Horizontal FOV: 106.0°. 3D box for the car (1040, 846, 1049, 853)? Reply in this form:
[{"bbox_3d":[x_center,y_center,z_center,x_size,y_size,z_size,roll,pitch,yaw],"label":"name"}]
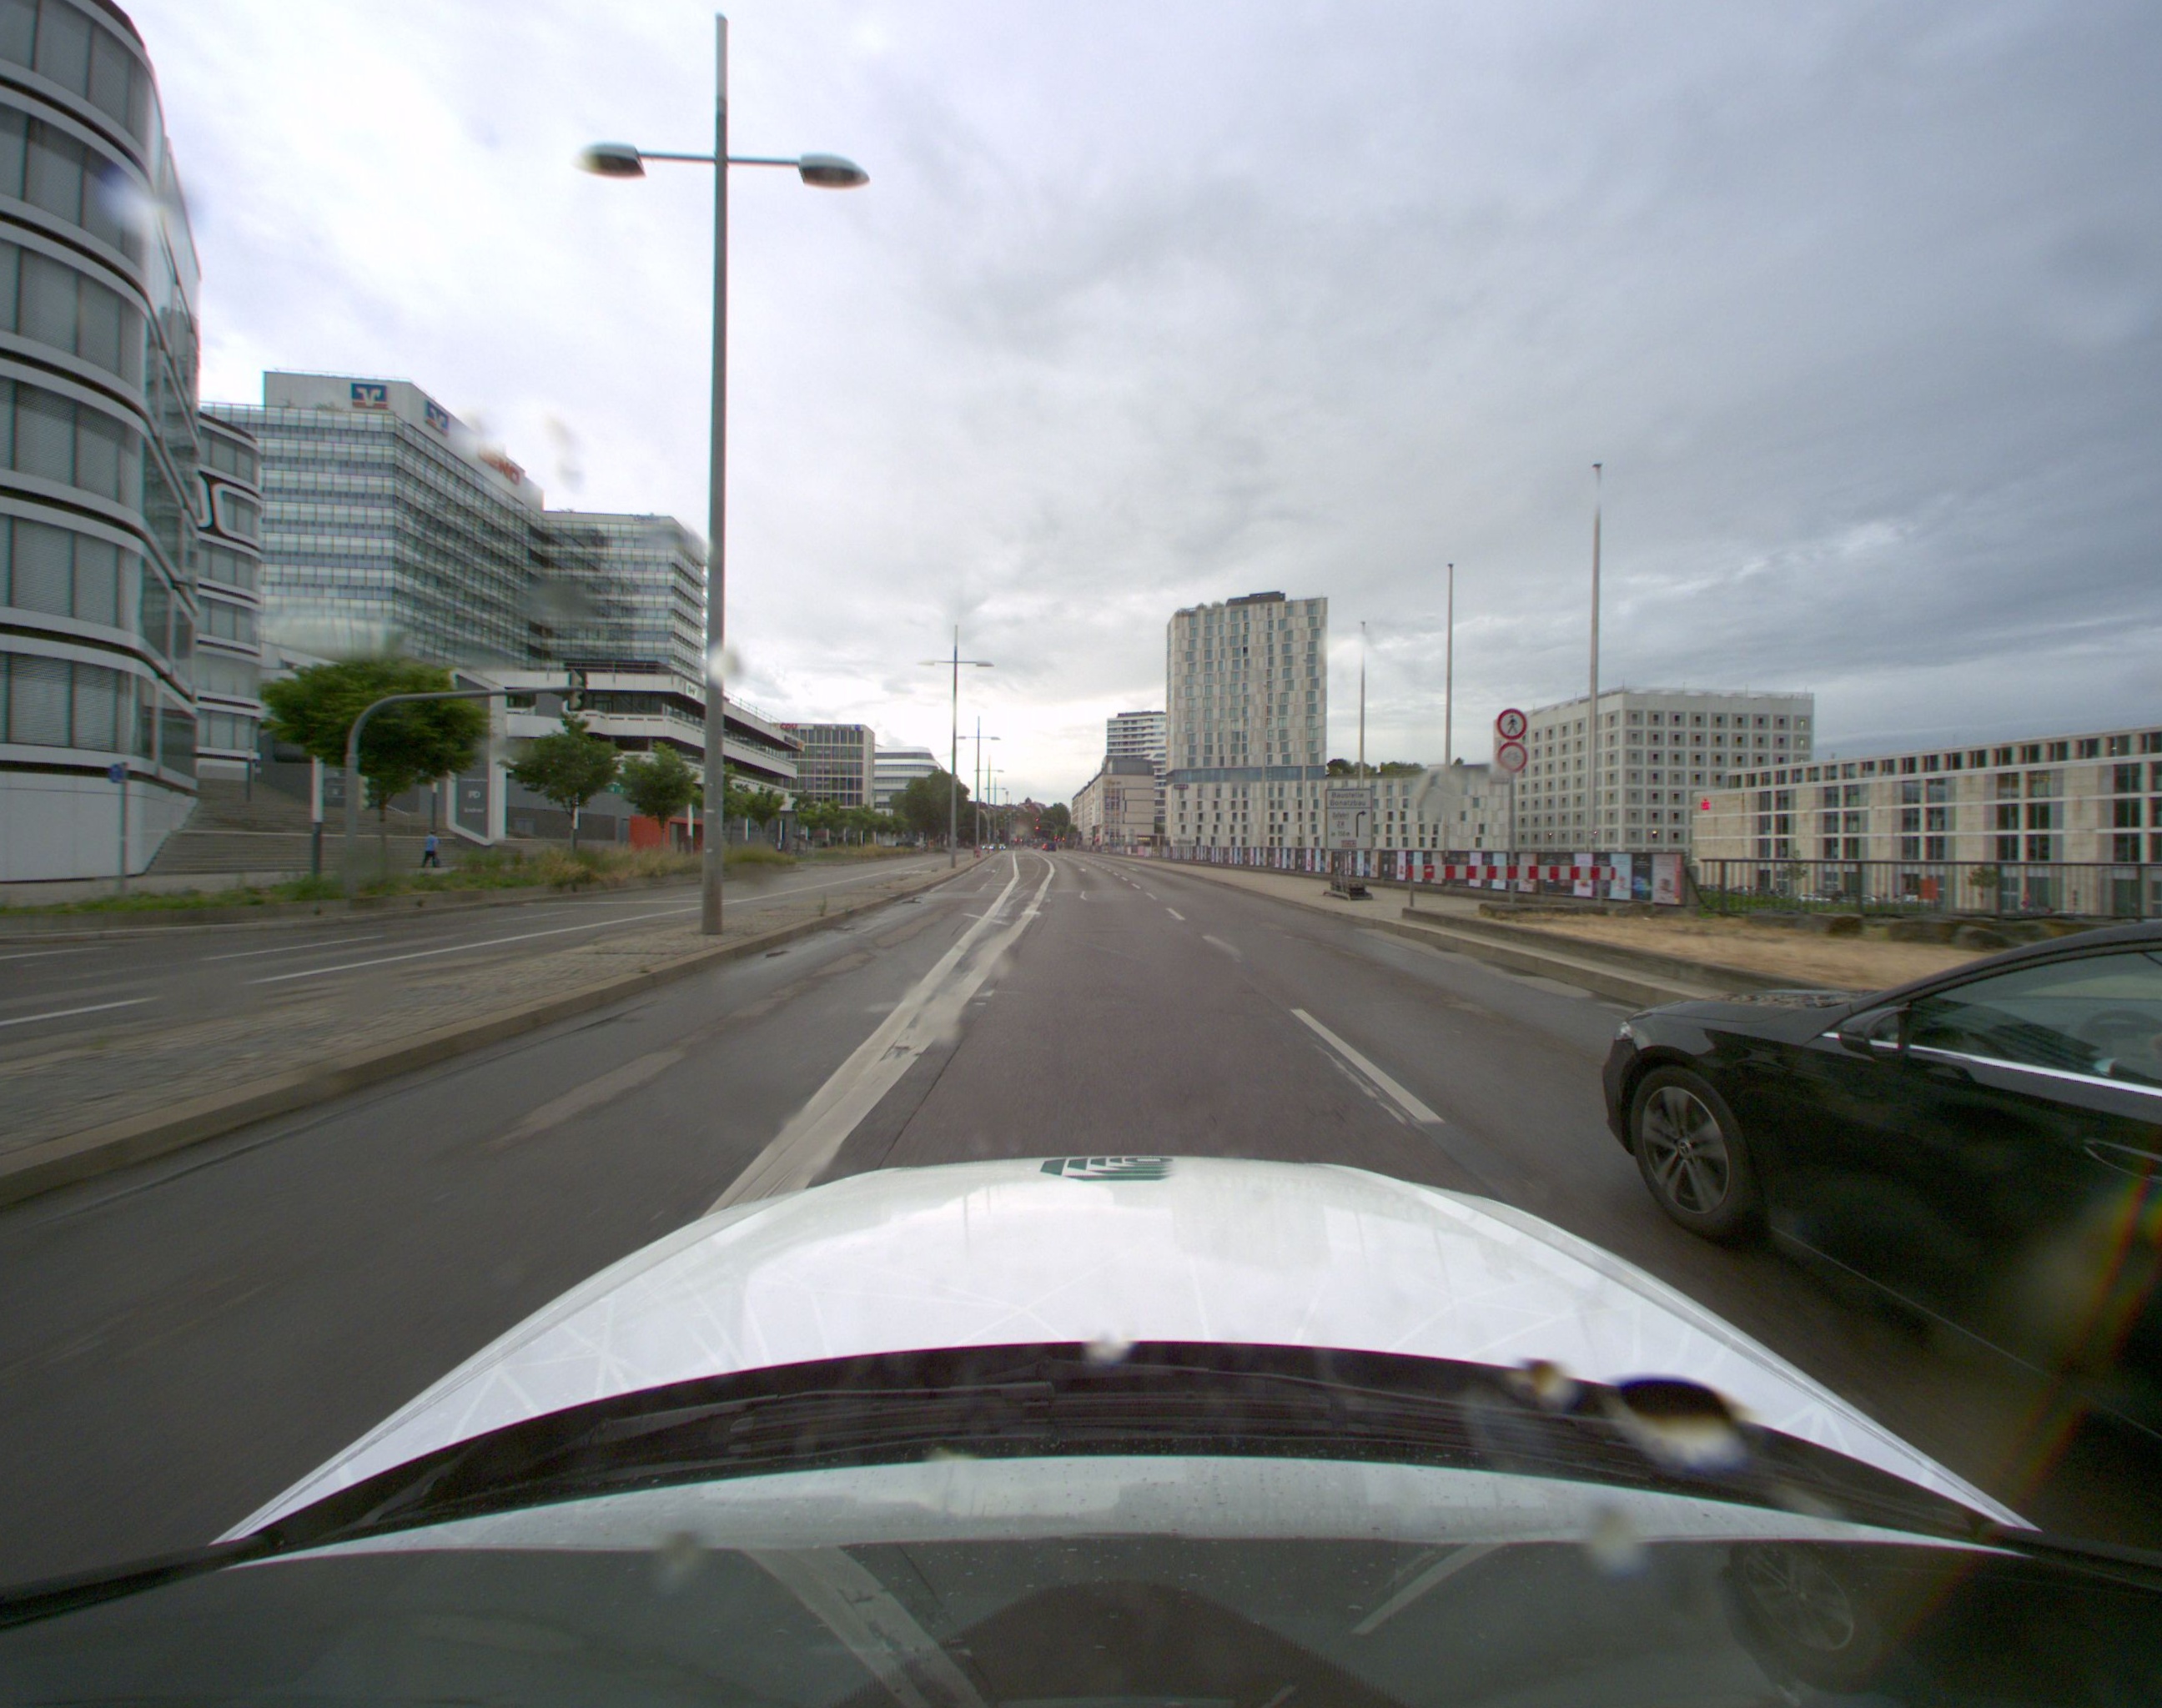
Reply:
[{"bbox_3d":[-8.937,-1.068,197.196,1.740,1.531,3.800,0,0,-10],"label":"car"}]

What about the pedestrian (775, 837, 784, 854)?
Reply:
[{"bbox_3d":[-30.314,-0.861,81.817,0.616,1.658,0.797,2,-1,-3],"label":"pedestrian"}]

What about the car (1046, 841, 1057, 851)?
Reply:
[{"bbox_3d":[-6.318,-1.652,172.063,2.029,1.882,5.034,-3,1,-4],"label":"car"}]

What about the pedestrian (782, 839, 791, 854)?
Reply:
[{"bbox_3d":[-29.606,-0.769,81.873,0.616,1.446,0.797,0,-1,-3],"label":"pedestrian"}]

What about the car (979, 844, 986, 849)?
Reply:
[{"bbox_3d":[-29.361,-2.181,242.247,1.740,1.328,4.218,0,0,-5],"label":"car"}]

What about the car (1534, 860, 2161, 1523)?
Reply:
[{"bbox_3d":[3.118,0.707,2.025,1.717,1.376,4.155,0,0,1],"label":"car"}]

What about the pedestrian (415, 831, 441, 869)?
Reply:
[{"bbox_3d":[-28.428,-0.167,35.455,0.609,1.611,0.639,0,-1,-2],"label":"pedestrian"}]

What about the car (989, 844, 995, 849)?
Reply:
[{"bbox_3d":[-26.598,-2.219,242.791,1.740,1.257,3.534,1,1,-5],"label":"car"}]

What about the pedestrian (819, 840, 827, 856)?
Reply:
[{"bbox_3d":[-29.969,-0.726,94.729,0.783,1.808,0.627,0,-1,-5],"label":"pedestrian"}]

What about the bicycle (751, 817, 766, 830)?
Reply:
[{"bbox_3d":[-24.318,-2.311,61.449,0.612,0.857,1.638,0,-1,-38],"label":"bicycle"}]

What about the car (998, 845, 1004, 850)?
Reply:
[{"bbox_3d":[-23.609,-2.007,241.651,1.740,1.444,3.389,0,-1,-5],"label":"car"}]
